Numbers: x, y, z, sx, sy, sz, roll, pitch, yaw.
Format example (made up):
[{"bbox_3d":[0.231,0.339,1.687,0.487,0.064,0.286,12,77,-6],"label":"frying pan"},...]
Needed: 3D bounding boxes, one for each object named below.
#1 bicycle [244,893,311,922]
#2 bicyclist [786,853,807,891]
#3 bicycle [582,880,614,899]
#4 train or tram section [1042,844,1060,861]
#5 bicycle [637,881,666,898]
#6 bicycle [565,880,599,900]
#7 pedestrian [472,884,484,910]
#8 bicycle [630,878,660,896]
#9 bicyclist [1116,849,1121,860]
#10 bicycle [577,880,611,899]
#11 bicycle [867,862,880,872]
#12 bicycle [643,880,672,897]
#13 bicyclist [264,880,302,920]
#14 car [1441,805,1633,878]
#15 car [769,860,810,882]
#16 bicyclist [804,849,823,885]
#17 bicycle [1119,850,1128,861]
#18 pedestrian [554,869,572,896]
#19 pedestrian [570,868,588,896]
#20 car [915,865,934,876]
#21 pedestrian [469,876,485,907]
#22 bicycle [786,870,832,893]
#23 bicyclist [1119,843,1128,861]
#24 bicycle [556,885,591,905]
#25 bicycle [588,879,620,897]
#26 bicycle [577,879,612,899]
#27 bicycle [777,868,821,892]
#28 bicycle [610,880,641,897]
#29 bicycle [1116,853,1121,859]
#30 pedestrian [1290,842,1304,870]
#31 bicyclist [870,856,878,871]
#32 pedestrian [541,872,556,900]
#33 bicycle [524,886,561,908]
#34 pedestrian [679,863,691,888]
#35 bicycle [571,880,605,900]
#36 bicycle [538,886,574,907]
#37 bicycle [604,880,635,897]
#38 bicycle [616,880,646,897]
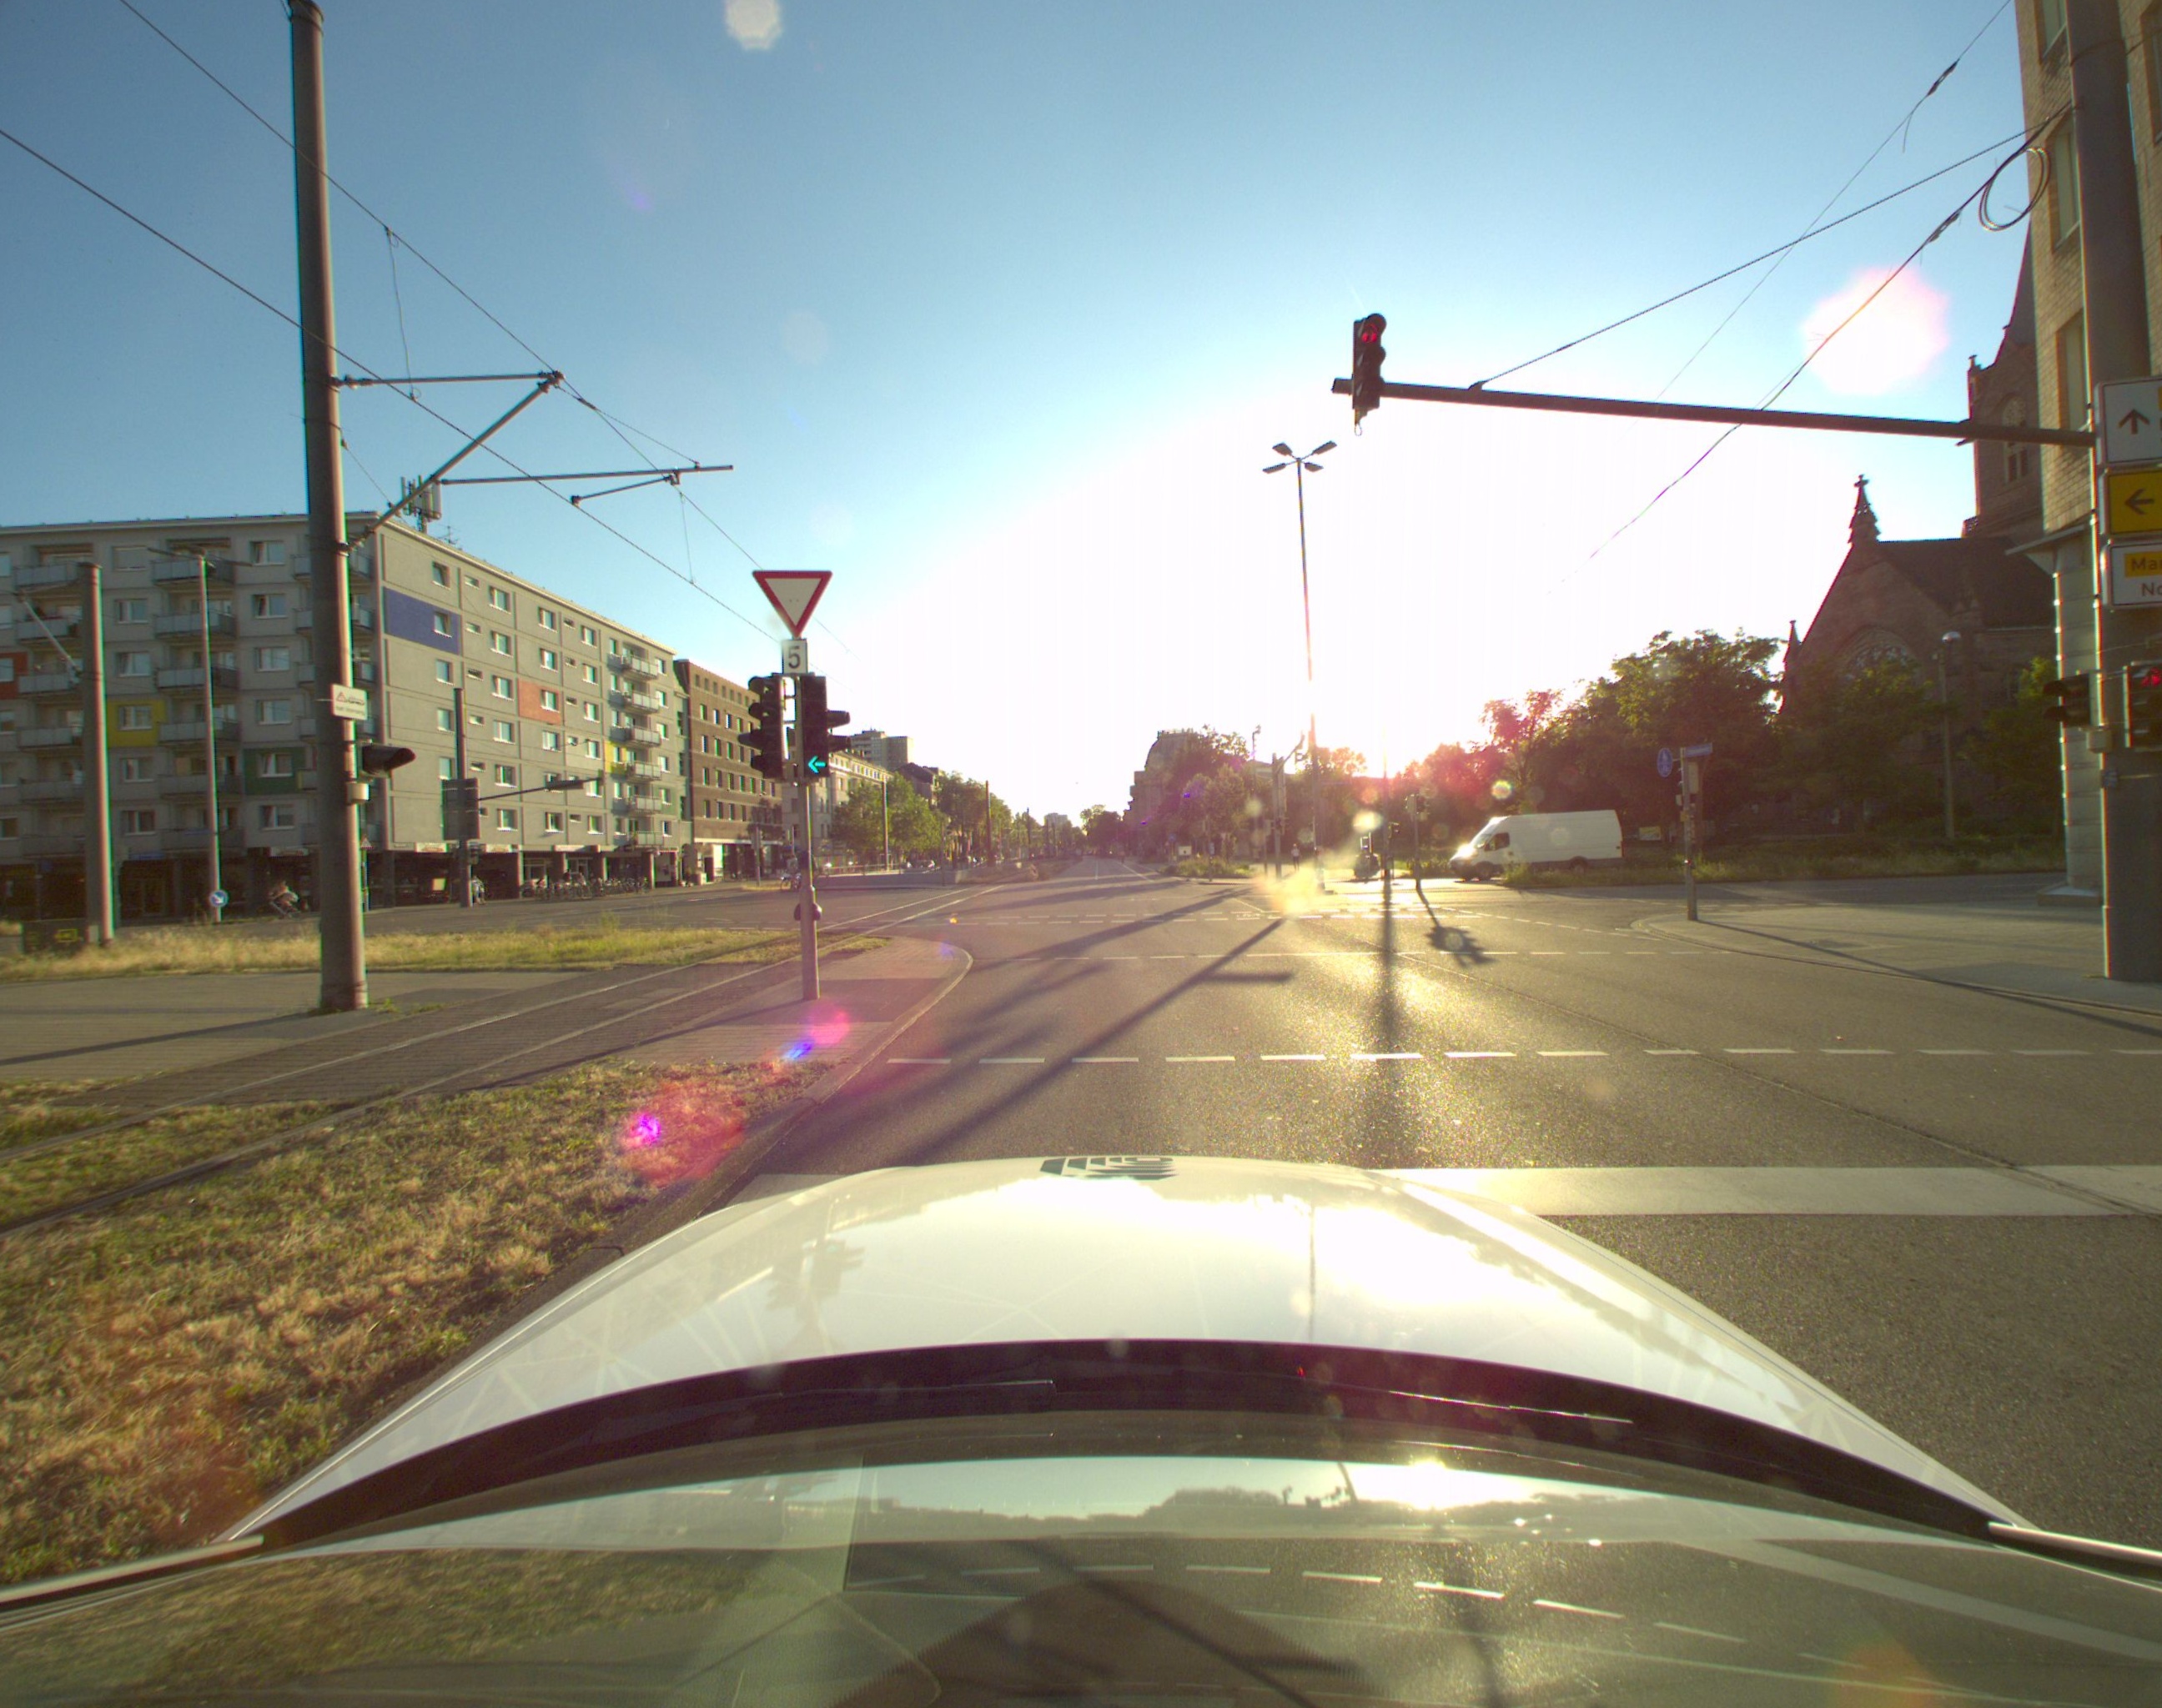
[{"bbox_3d":[-29.753,1.956,30.193,0.503,0.944,1.678,-2,0,29],"label":"bicycle"},{"bbox_3d":[-13.983,0.885,40.048,0.793,1.818,0.644,-2,0,-11],"label":"bicyclist"},{"bbox_3d":[-31.879,2.359,53.762,1.769,1.159,0.606,-2,0,1],"label":"bicycle"},{"bbox_3d":[-7.369,-0.297,200.189,4.375,3.850,11.400,-2,0,-2],"label":"train or tram section"},{"bbox_3d":[-30.801,2.548,58.396,1.683,1.170,0.749,-2,0,3],"label":"bicycle"},{"bbox_3d":[-31.292,2.262,51.069,1.759,1.167,0.540,-2,0,2],"label":"bicycle"},{"bbox_3d":[-32.834,2.342,44.339,0.383,1.383,0.392,-2,0,-26],"label":"pedestrian"},{"bbox_3d":[-30.889,2.361,57.648,1.683,1.179,0.749,-2,0,3],"label":"bicycle"},{"bbox_3d":[7.286,0.047,157.639,0.922,2.013,0.851,-2,0,1],"label":"bicyclist"},{"bbox_3d":[-31.770,2.319,53.114,1.824,1.160,0.640,-2,0,1],"label":"bicycle"},{"bbox_3d":[-27.514,1.678,107.988,0.809,1.201,2.415,-2,0,4],"label":"bicycle"},{"bbox_3d":[-30.767,2.505,59.153,1.683,1.144,0.697,-2,0,3],"label":"bicycle"},{"bbox_3d":[-29.701,1.694,30.306,0.494,1.426,0.863,-2,0,29],"label":"bicyclist"},{"bbox_3d":[19.557,-0.525,35.192,6.981,2.827,2.095,-2,0,3],"label":"car"},{"bbox_3d":[-24.385,1.378,68.229,1.682,1.618,4.004,-3,0,4],"label":"car"},{"bbox_3d":[-13.845,0.681,42.186,0.878,1.818,0.535,-2,0,-16],"label":"bicyclist"},{"bbox_3d":[5.419,0.163,103.456,1.094,1.399,2.833,-2,0,2],"label":"bicycle"},{"bbox_3d":[-35.438,1.941,55.747,0.826,1.813,0.719,-1,0,-9],"label":"pedestrian"},{"bbox_3d":[-34.394,1.899,55.800,0.785,1.841,0.733,-2,0,-7],"label":"pedestrian"},{"bbox_3d":[-23.351,2.488,121.634,1.810,1.420,4.006,-2,0,5],"label":"car"},{"bbox_3d":[-32.488,2.026,43.814,0.575,1.620,0.598,-2,0,-29],"label":"pedestrian"},{"bbox_3d":[-14.048,1.413,42.121,2.168,1.083,0.536,-2,0,-16],"label":"bicycle"},{"bbox_3d":[5.416,-0.287,103.559,1.078,2.276,0.986,-2,0,1],"label":"bicyclist"},{"bbox_3d":[-31.467,2.515,50.494,1.750,1.139,0.600,-2,0,2],"label":"bicycle"},{"bbox_3d":[-31.845,2.253,54.404,1.764,1.136,0.606,-2,0,2],"label":"bicycle"},{"bbox_3d":[-31.251,2.274,52.314,1.782,1.191,0.652,-2,0,1],"label":"bicycle"},{"bbox_3d":[-13.864,1.266,40.080,1.903,1.075,0.629,-2,0,-13],"label":"bicycle"},{"bbox_3d":[-31.105,2.359,55.572,1.754,1.119,0.568,-2,0,2],"label":"bicycle"},{"bbox_3d":[7.306,0.468,157.629,0.921,1.111,2.334,-2,0,2],"label":"bicycle"},{"bbox_3d":[14.203,0.129,53.553,0.826,1.803,0.814,-2,0,17],"label":"pedestrian"},{"bbox_3d":[-27.494,1.237,108.230,0.793,2.013,0.924,-2,0,4],"label":"bicyclist"},{"bbox_3d":[-33.096,1.997,50.589,0.580,1.684,0.544,-2,0,-16],"label":"pedestrian"},{"bbox_3d":[-32.280,2.574,48.813,1.788,1.208,0.638,-2,0,0],"label":"bicycle"},{"bbox_3d":[-34.157,1.850,70.262,0.599,2.178,0.792,-2,0,1],"label":"pedestrian"},{"bbox_3d":[-31.266,2.300,51.670,1.762,1.182,0.568,-2,0,1],"label":"bicycle"},{"bbox_3d":[-32.166,2.603,49.914,1.770,1.142,0.608,-2,0,1],"label":"bicycle"},{"bbox_3d":[-31.140,2.335,54.986,1.748,1.117,0.552,-2,0,2],"label":"bicycle"},{"bbox_3d":[-31.048,2.365,56.210,1.719,1.124,0.634,-2,-1,3],"label":"bicycle"}]
